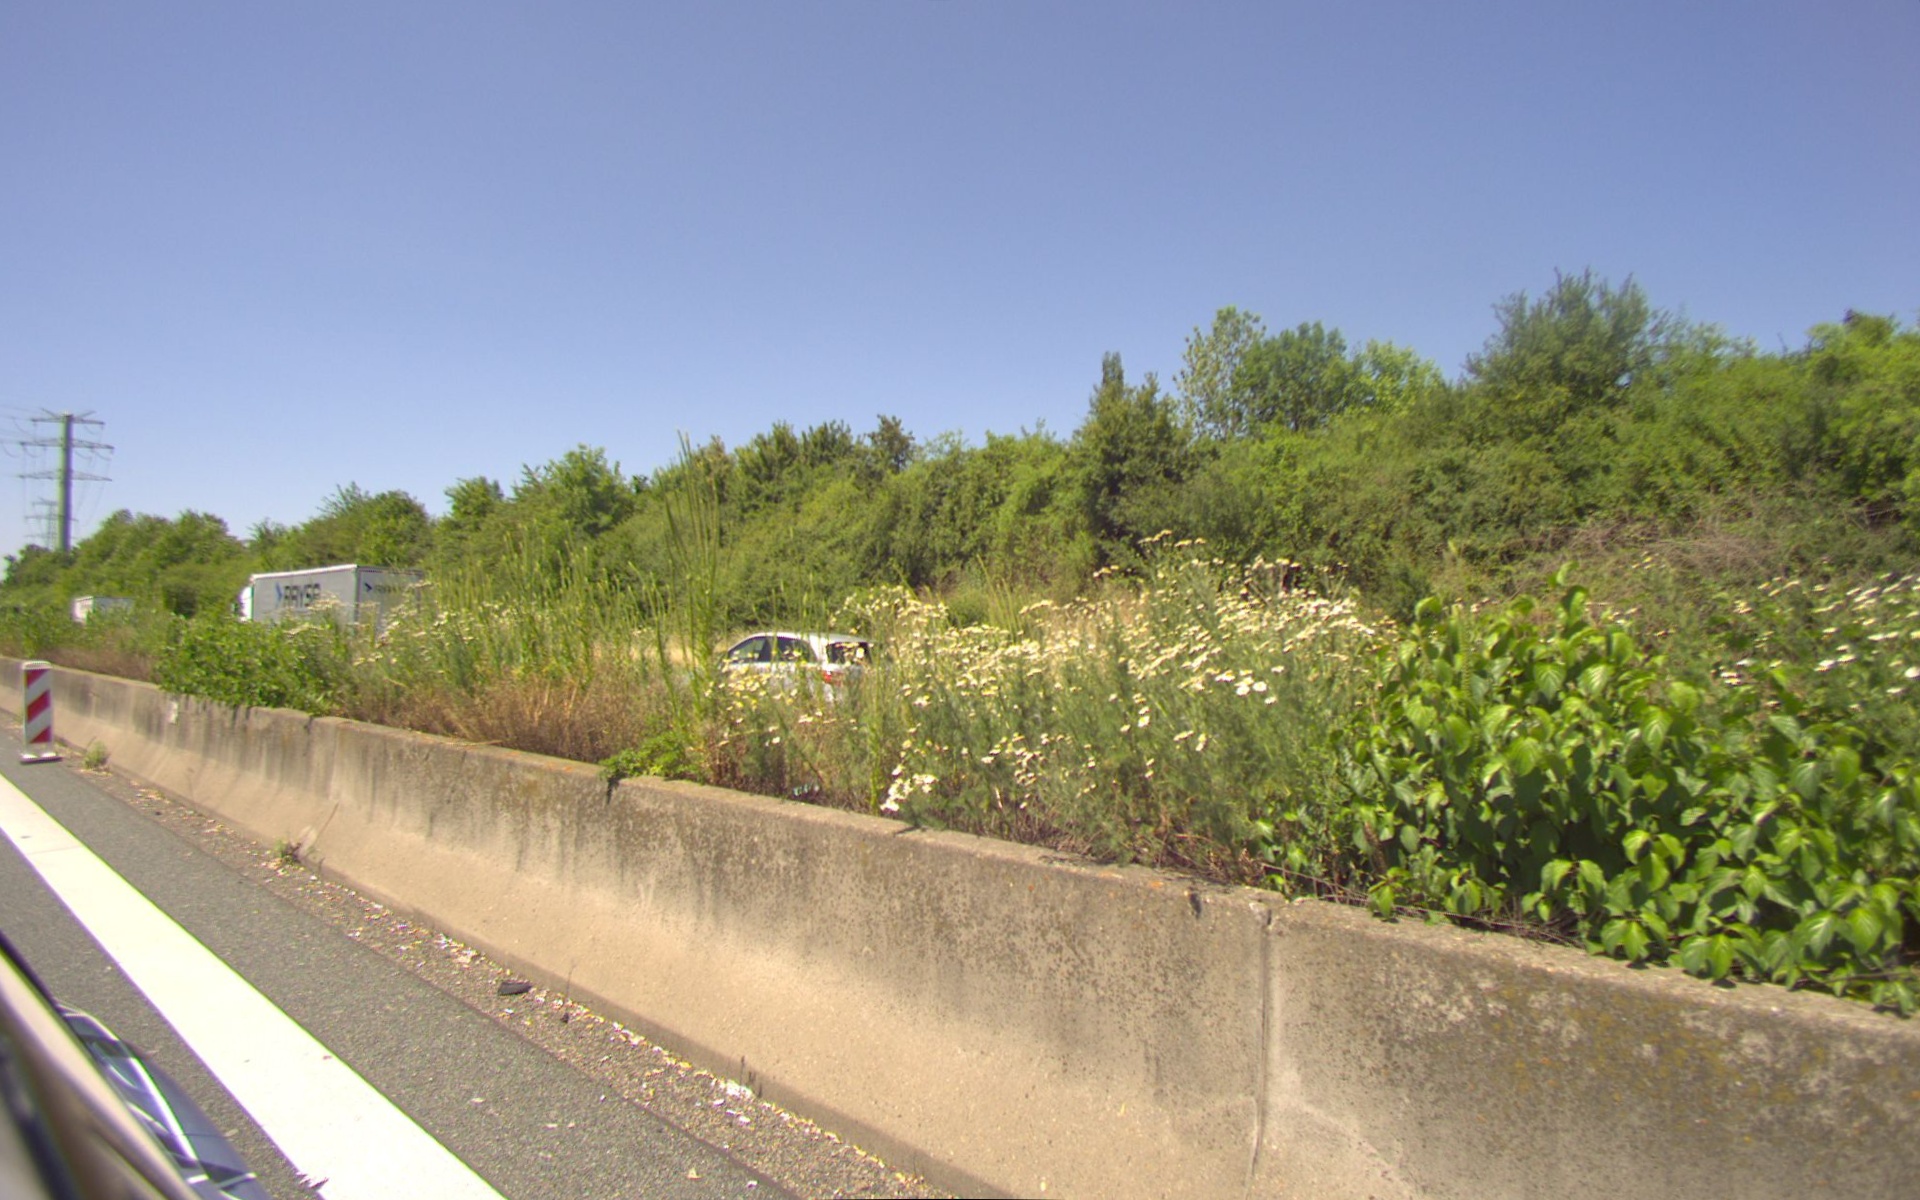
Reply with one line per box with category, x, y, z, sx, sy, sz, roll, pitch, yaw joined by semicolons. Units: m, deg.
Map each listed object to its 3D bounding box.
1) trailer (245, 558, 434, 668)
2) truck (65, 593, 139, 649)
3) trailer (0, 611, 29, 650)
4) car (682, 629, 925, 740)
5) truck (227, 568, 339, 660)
trailer;-27.892;0.668;44.984;14.014;4.199;2.985;-1;-5;42
truck;-65.640;1.629;77.371;9.024;3.918;2.734;-1;-5;41
trailer;-109.183;3.435;115.391;14.189;4.199;2.724;-1;-5;41
car;-2.594;1.255;16.286;3.998;1.544;1.685;-1;-2;41
truck;-33.391;0.765;49.834;5.803;4.199;2.985;-1;-5;41
